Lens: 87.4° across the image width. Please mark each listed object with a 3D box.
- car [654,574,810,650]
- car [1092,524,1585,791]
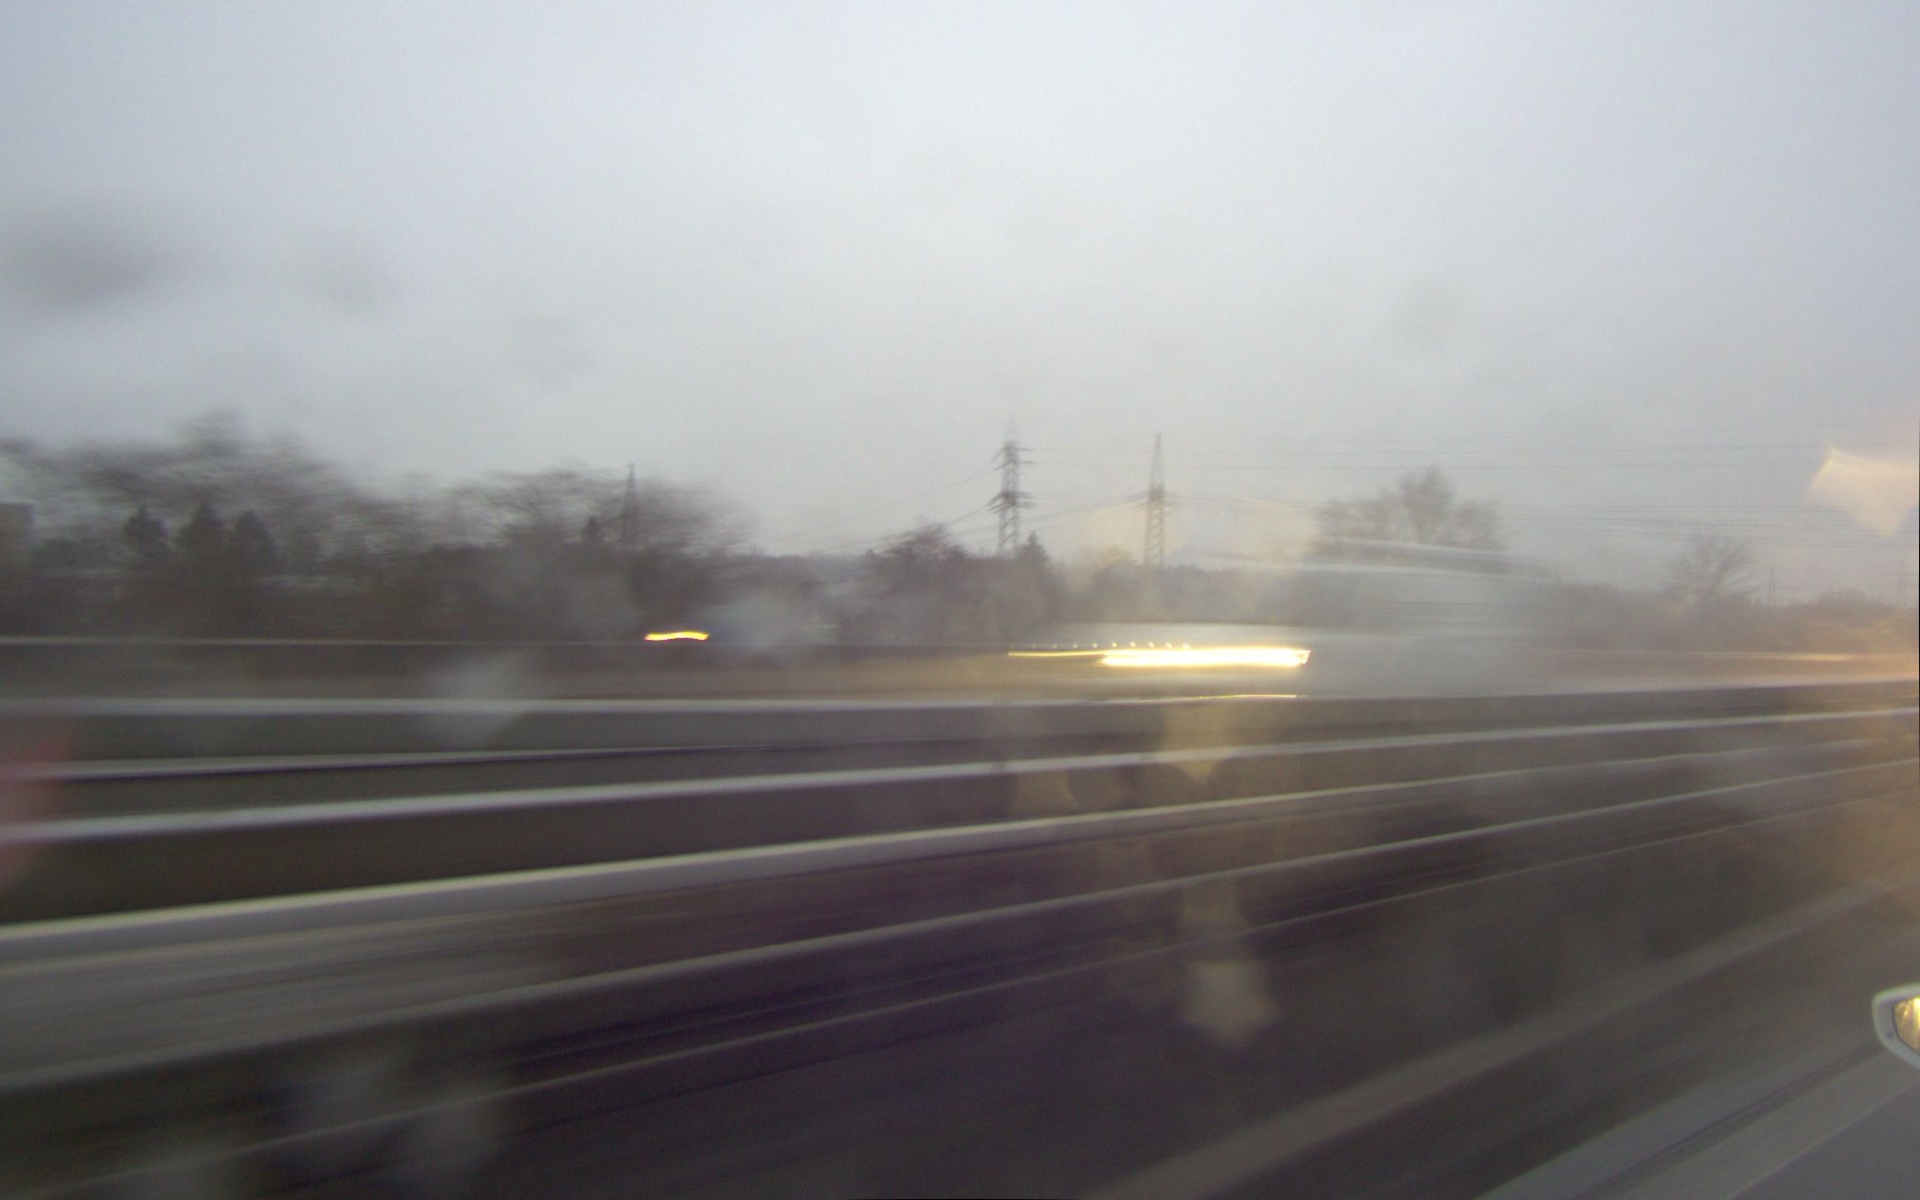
[{"bbox_3d":[-6.538,0.359,28.849,3.955,2.040,1.983,2,0,-31],"label":"car"},{"bbox_3d":[4.003,0.498,10.320,5.138,2.164,1.984,1,0,-31],"label":"car"}]
